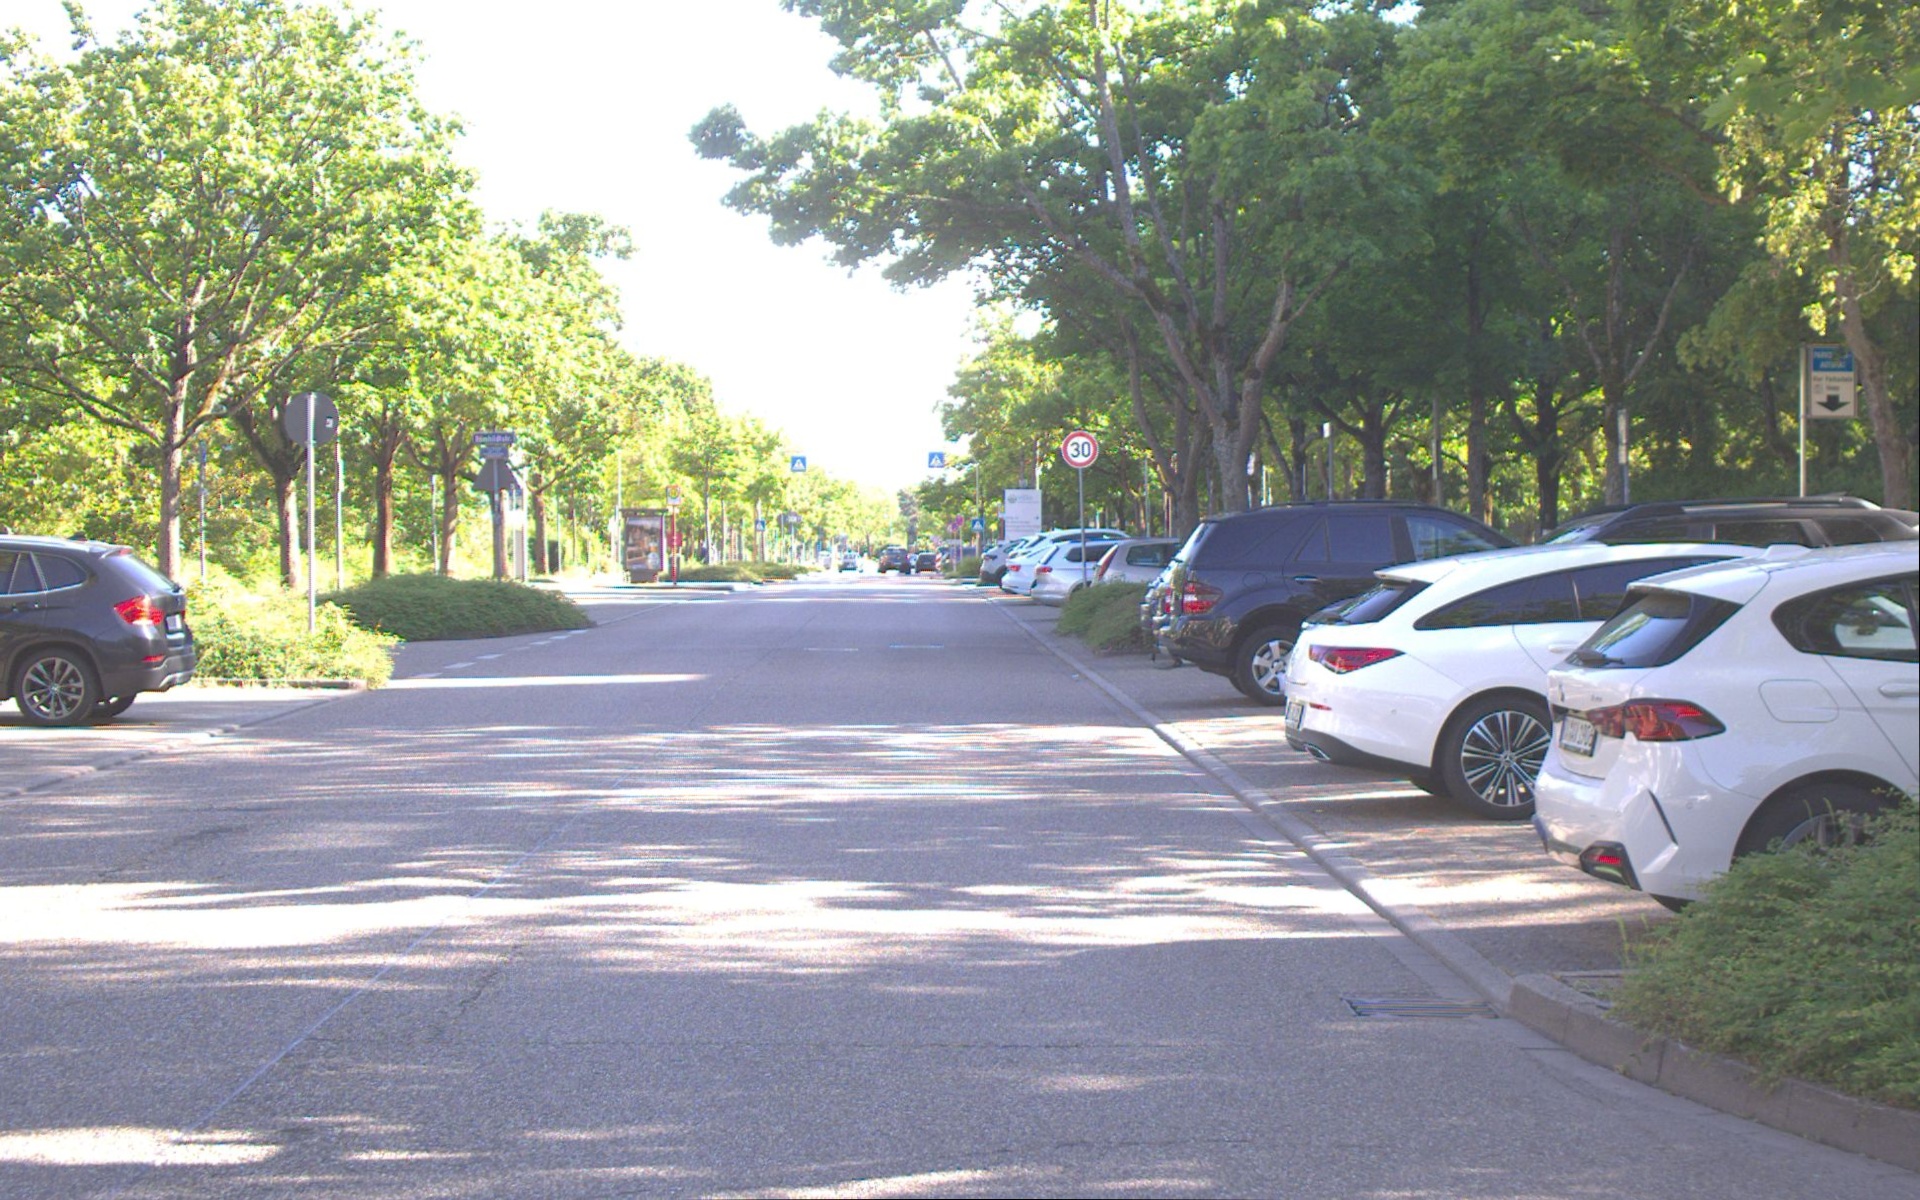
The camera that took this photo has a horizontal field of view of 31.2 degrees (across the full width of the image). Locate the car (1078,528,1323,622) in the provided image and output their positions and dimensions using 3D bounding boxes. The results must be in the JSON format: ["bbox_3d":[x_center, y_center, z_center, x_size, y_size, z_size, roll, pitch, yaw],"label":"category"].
[{"bbox_3d":[4.063,-0.433,58.533,3.987,1.446,1.717,-2,1,0],"label":"car"}]

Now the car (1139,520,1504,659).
[{"bbox_3d":[4.174,-0.136,40.104,3.987,1.382,1.822,-3,1,0],"label":"car"}]

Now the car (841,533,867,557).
[{"bbox_3d":[-7.955,-4.097,257.399,1.828,1.769,3.740,1,1,0],"label":"car"}]

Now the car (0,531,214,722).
[{"bbox_3d":[-8.453,0.184,28.393,4.192,1.515,1.772,1,1,0],"label":"car"}]

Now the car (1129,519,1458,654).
[{"bbox_3d":[4.122,-0.178,42.885,3.808,1.494,1.702,-2,1,-4],"label":"car"}]

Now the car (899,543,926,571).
[{"bbox_3d":[-3.501,-3.170,254.480,1.993,2.007,4.000,1,1,-1],"label":"car"}]

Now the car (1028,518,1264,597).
[{"bbox_3d":[3.444,-0.794,63.429,4.275,1.423,1.827,0,1,4],"label":"car"}]

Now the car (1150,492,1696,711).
[{"bbox_3d":[4.085,-0.004,30.917,4.587,1.773,2.000,-2,1,0],"label":"car"}]

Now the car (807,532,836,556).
[{"bbox_3d":[-10.335,-4.177,256.856,1.993,1.795,4.000,1,1,0],"label":"car"}]

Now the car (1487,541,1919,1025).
[{"bbox_3d":[4.367,0.555,12.759,4.426,1.587,1.837,-2,1,-3],"label":"car"}]

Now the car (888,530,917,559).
[{"bbox_3d":[-4.011,-3.855,239.369,1.993,2.007,4.000,1,1,0],"label":"car"}]

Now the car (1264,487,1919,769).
[{"bbox_3d":[4.138,0.165,22.059,4.118,1.612,1.734,-2,0,-2],"label":"car"}]

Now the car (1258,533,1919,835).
[{"bbox_3d":[3.975,0.431,18.785,4.441,1.540,1.818,1,1,-3],"label":"car"}]

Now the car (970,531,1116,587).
[{"bbox_3d":[2.438,-1.214,101.594,4.164,1.423,2.000,-3,1,-1],"label":"car"}]

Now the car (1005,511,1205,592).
[{"bbox_3d":[3.343,-1.148,79.929,4.435,1.642,1.816,-3,1,-2],"label":"car"}]

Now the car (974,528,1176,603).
[{"bbox_3d":[2.562,-0.780,77.230,4.342,1.484,1.738,-2,1,-2],"label":"car"}]
